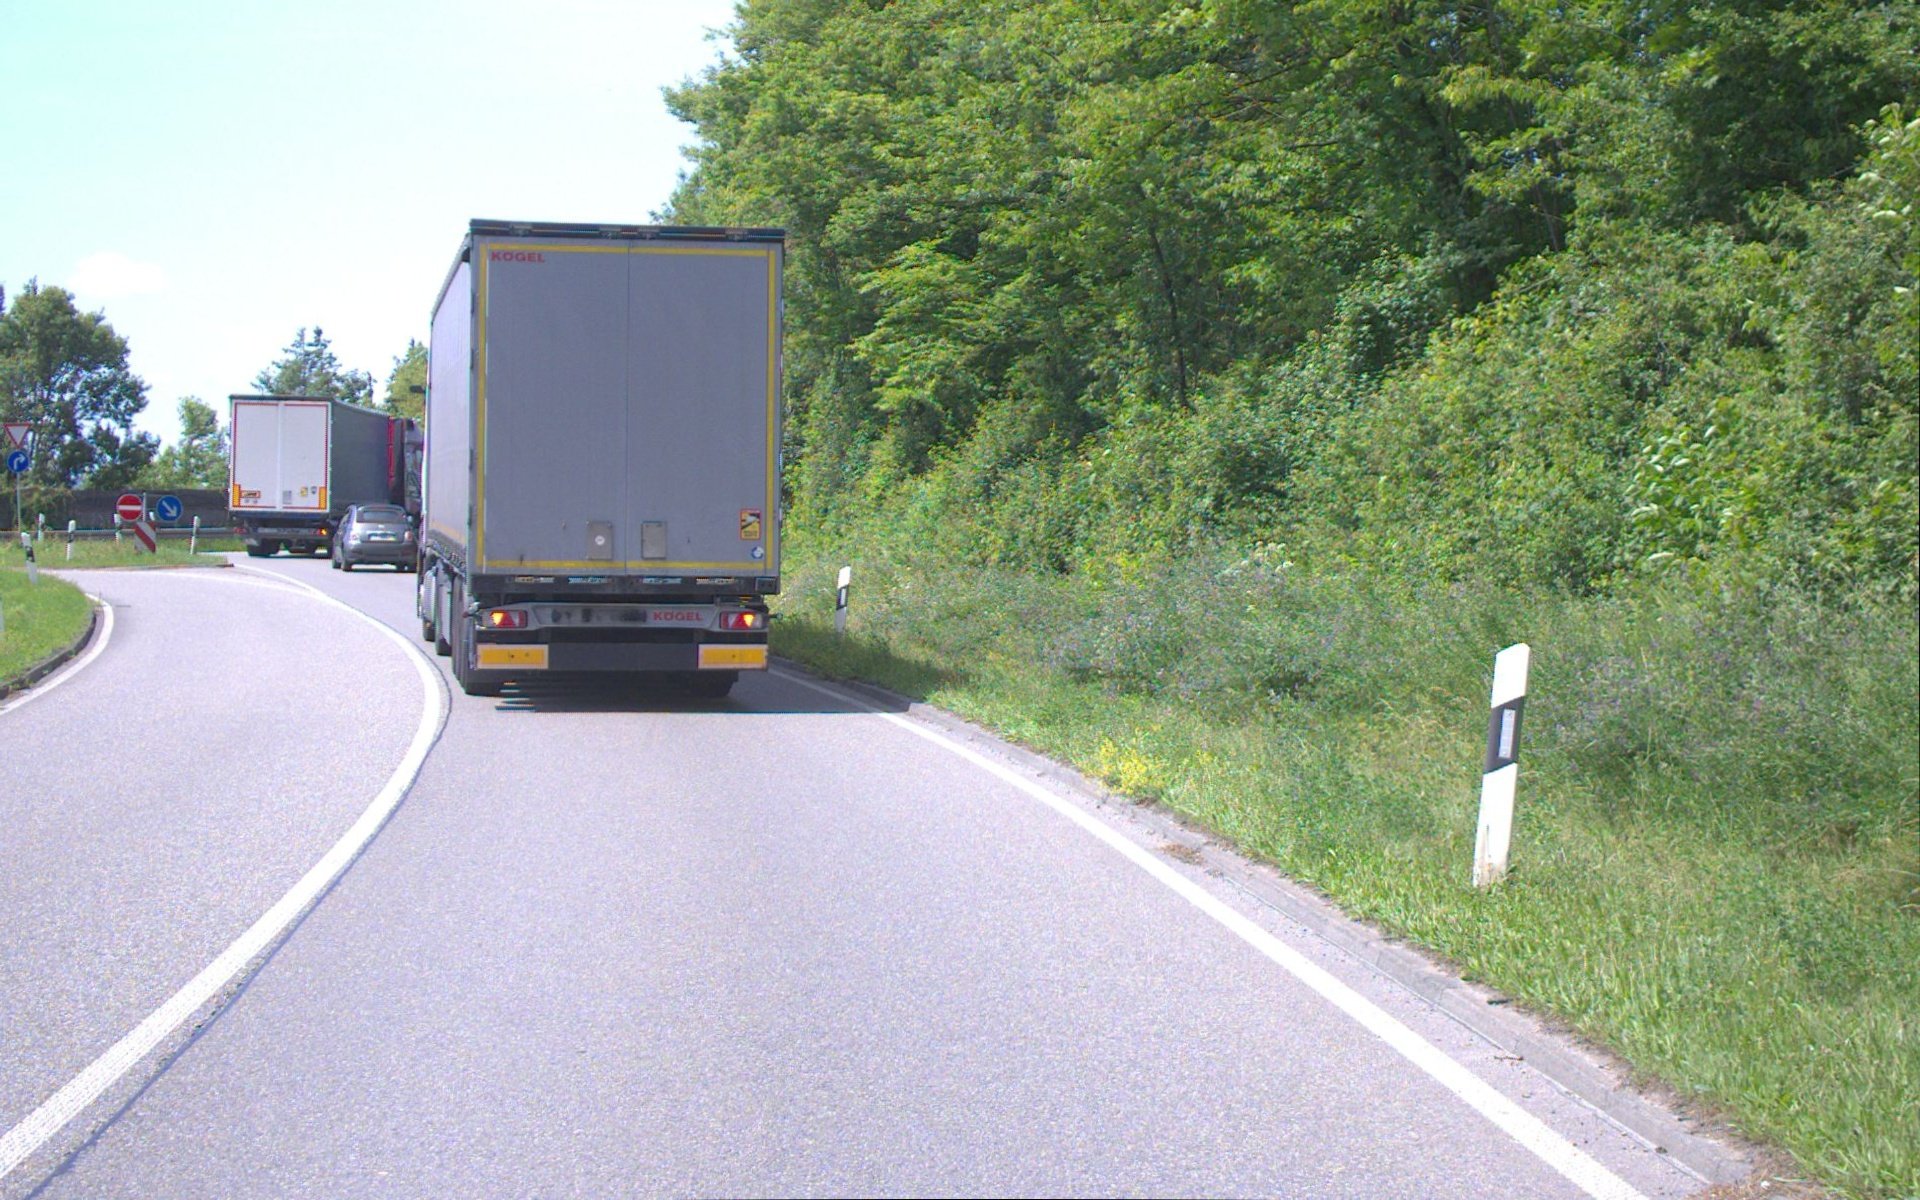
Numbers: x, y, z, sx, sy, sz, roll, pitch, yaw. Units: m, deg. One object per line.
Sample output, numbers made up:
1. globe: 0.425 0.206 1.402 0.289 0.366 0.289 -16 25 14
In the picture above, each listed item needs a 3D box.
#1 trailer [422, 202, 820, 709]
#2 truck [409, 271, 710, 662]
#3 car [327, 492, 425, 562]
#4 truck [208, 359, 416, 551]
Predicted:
1. trailer: -3.747 -1.266 34.284 3.026 4.021 13.356 1 1 -9
2. truck: -4.940 -1.500 41.197 3.152 4.210 7.124 1 1 -10
3. car: -12.948 -1.636 76.101 1.665 1.481 4.002 0 2 -17
4. truck: -17.319 -3.795 93.254 3.828 4.728 16.207 0 1 -5
